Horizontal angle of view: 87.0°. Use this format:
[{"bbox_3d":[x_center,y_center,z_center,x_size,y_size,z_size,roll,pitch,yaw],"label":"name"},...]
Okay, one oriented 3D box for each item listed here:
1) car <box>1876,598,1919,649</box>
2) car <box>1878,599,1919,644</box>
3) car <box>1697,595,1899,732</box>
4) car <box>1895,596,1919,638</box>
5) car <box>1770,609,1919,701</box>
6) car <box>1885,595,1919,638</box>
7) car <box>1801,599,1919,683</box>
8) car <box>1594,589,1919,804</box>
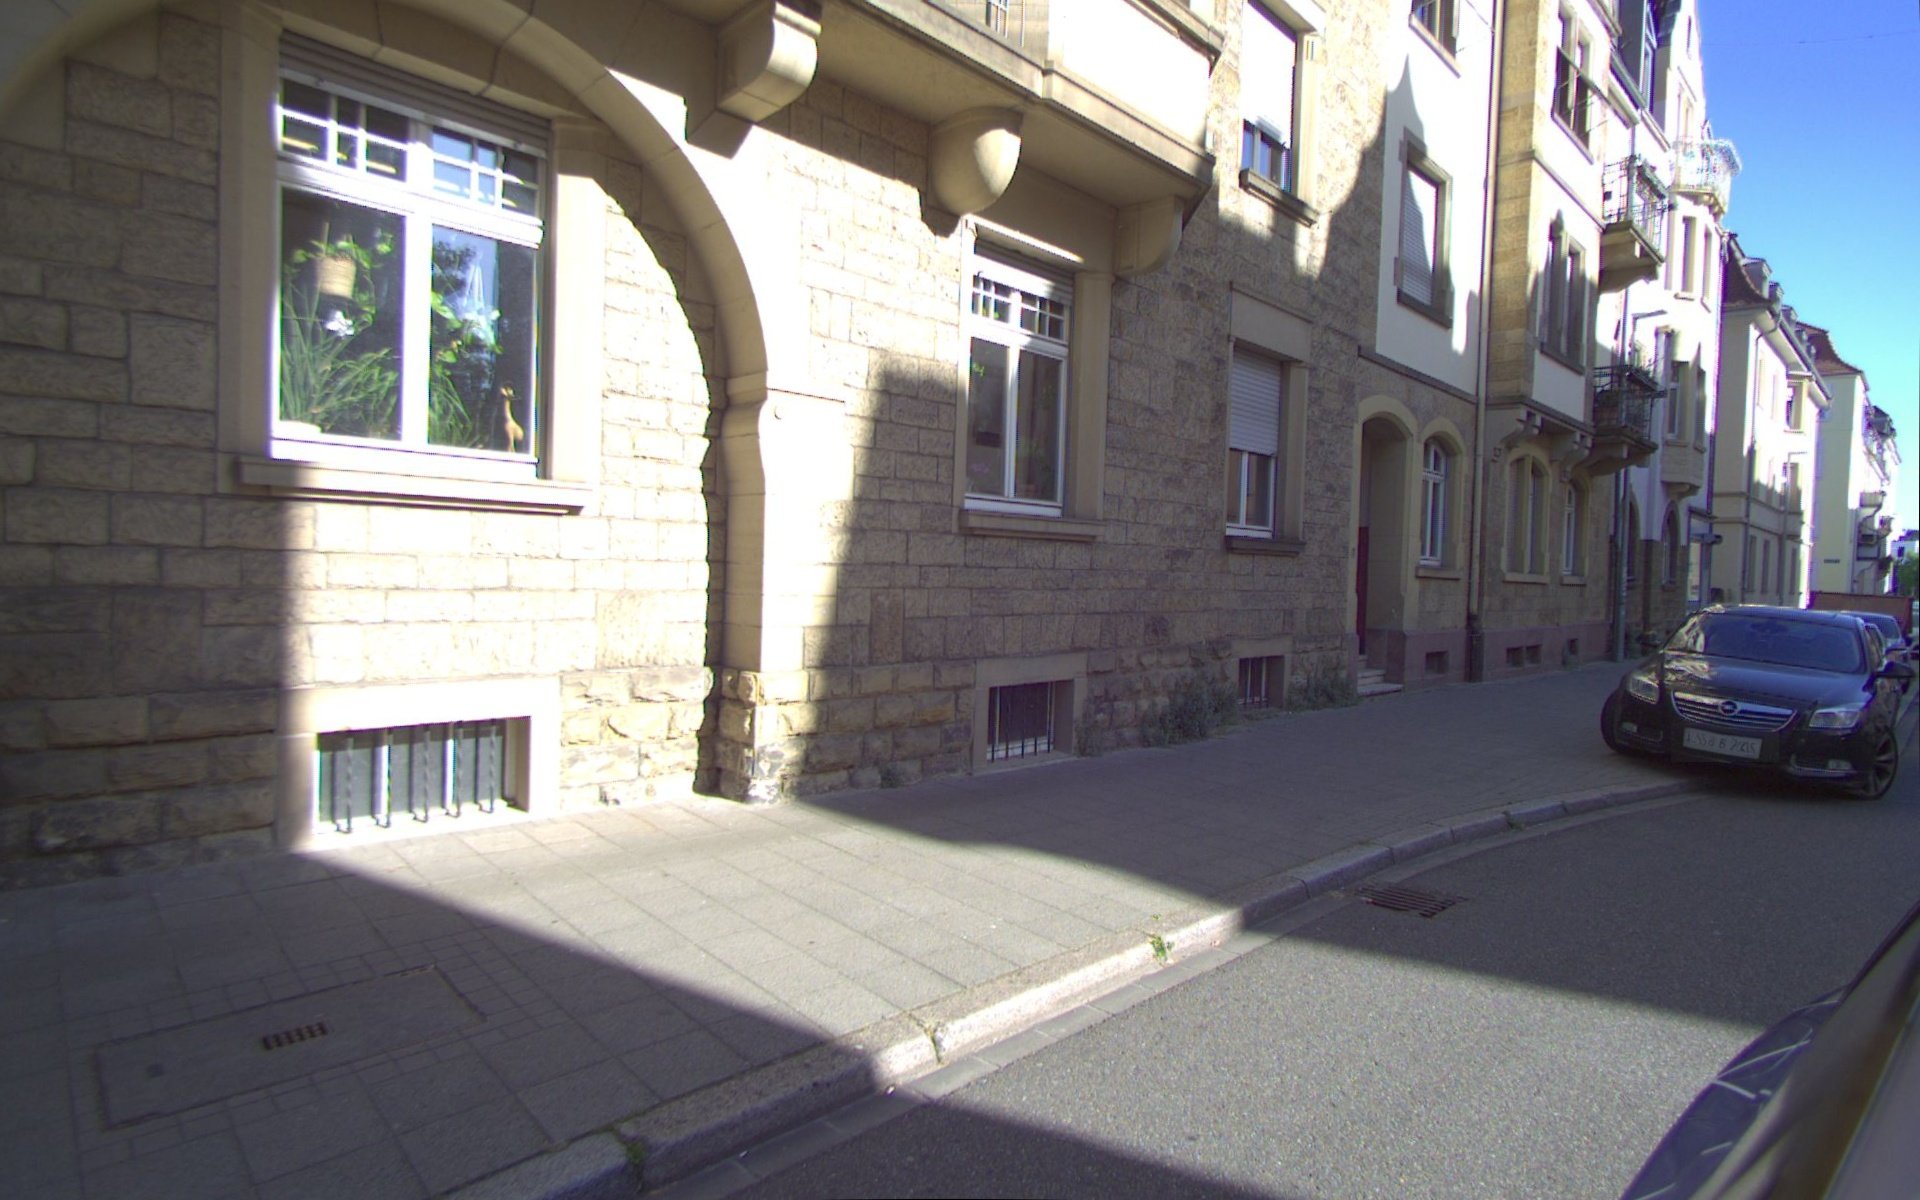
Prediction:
[{"bbox_3d":[30.137,0.729,31.992,1.586,1.482,3.653,4,2,44],"label":"car"},{"bbox_3d":[33.797,0.751,35.833,4.027,1.482,1.654,0,2,-45],"label":"car"},{"bbox_3d":[11.234,0.716,13.455,1.652,1.460,4.189,4,3,45],"label":"car"},{"bbox_3d":[41.217,0.730,43.021,4.359,1.685,1.789,0,2,-43],"label":"car"},{"bbox_3d":[15.102,0.840,17.131,3.876,1.270,1.694,0,3,-45],"label":"car"},{"bbox_3d":[38.015,0.655,40.064,3.848,1.565,1.683,0,3,-43],"label":"car"},{"bbox_3d":[18.067,0.746,20.196,1.785,1.447,3.749,3,2,42],"label":"car"},{"bbox_3d":[7.660,0.706,9.563,4.268,1.480,1.867,0,3,-45],"label":"car"}]
